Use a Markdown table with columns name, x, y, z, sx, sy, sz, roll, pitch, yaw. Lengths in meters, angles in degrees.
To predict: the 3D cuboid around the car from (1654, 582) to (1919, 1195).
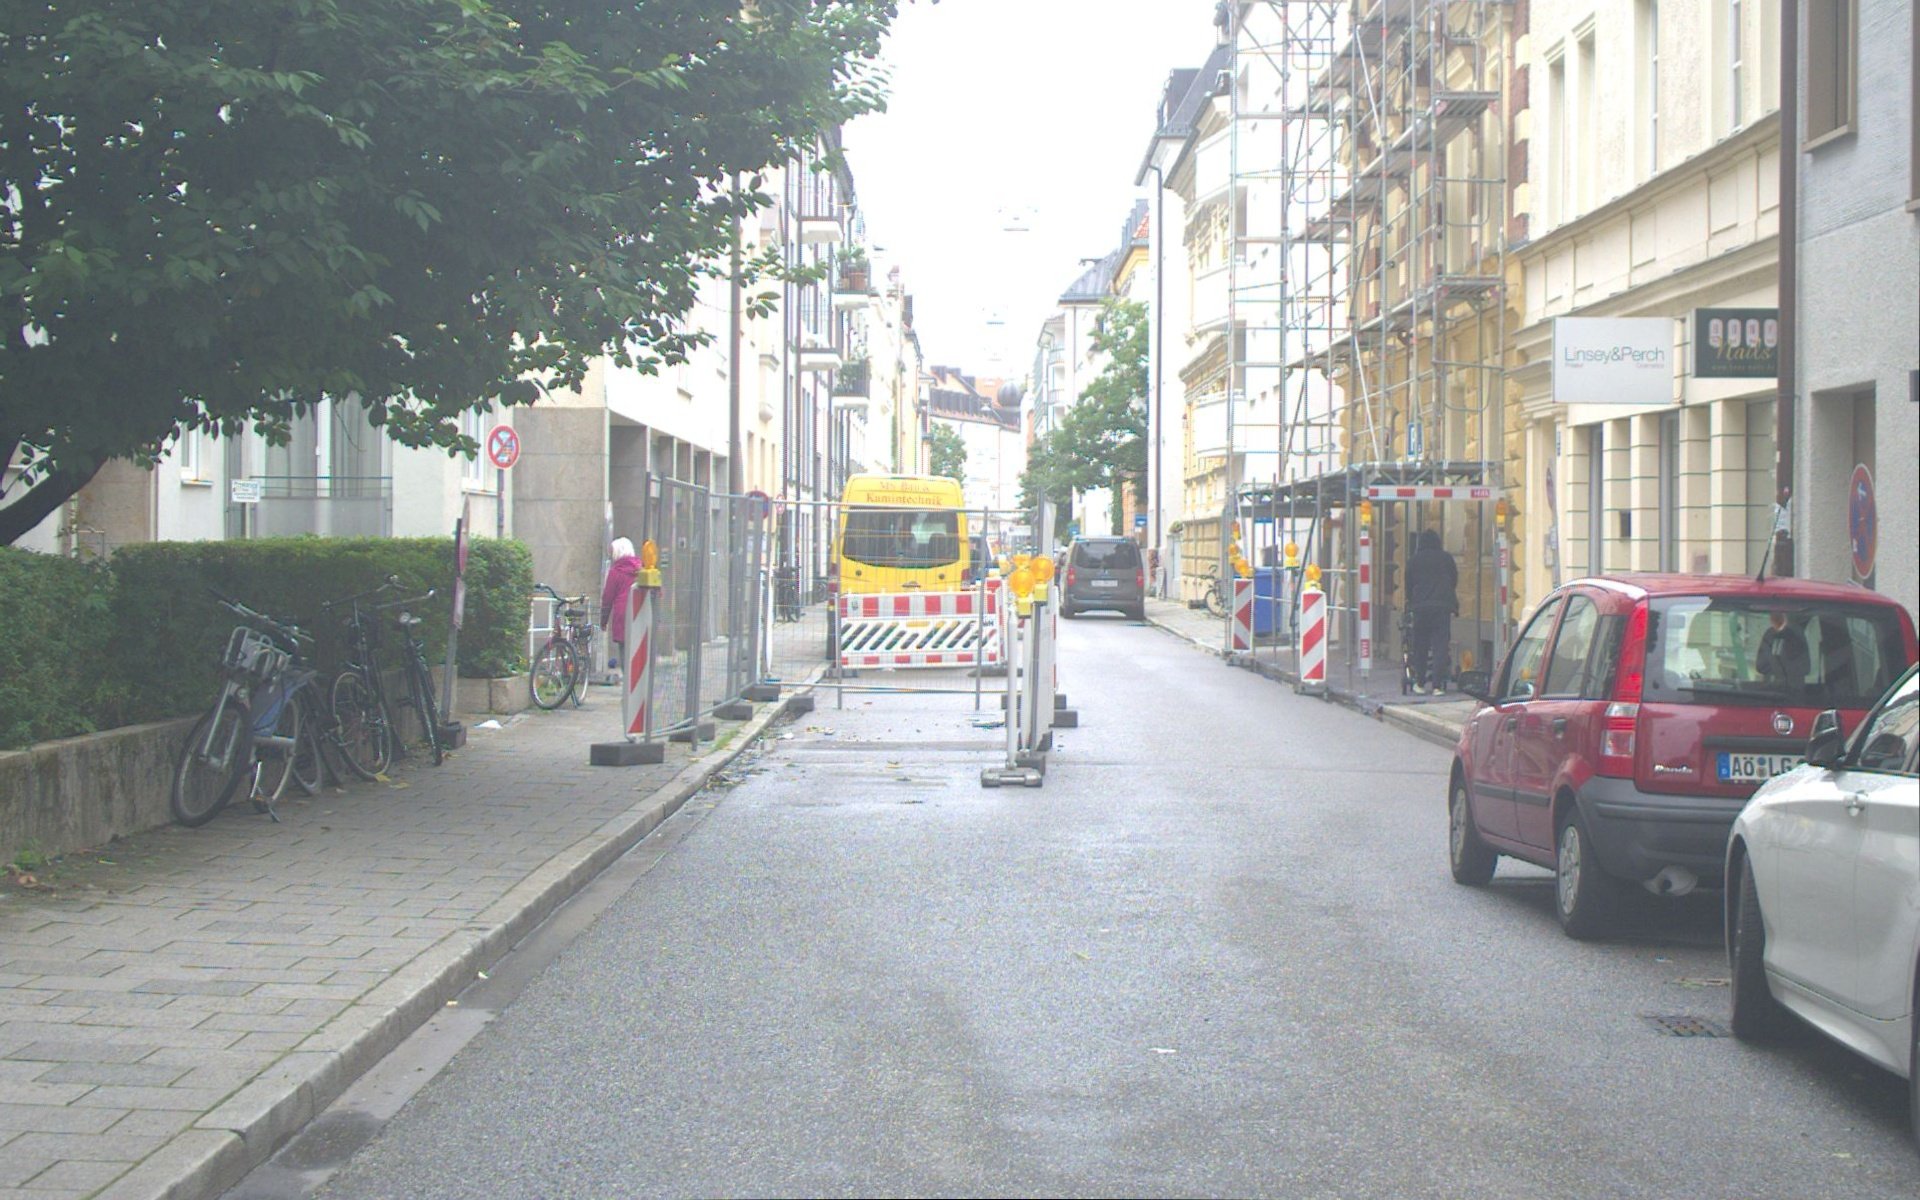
| name | x | y | z | sx | sy | sz | roll | pitch | yaw |
| --- | --- | --- | --- | --- | --- | --- | --- | --- | --- |
| car | 3.288 | 0.734 | 9.831 | 1.768 | 1.456 | 4.380 | 2 | 1 | 2 |

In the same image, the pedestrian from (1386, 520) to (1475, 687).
| name | x | y | z | sx | sy | sz | roll | pitch | yaw |
| --- | --- | --- | --- | --- | --- | --- | --- | --- | --- |
| pedestrian | 5.099 | 0.028 | 37.294 | 0.729 | 1.746 | 0.988 | -3 | 1 | -1 |

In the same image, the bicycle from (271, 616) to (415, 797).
| name | x | y | z | sx | sy | sz | roll | pitch | yaw |
| --- | --- | --- | --- | --- | --- | --- | --- | --- | --- |
| bicycle | -3.559 | 0.594 | 19.924 | 0.436 | 0.975 | 1.699 | 4 | 0 | 1 |

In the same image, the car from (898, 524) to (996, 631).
| name | x | y | z | sx | sy | sz | roll | pitch | yaw |
| --- | --- | --- | --- | --- | --- | --- | --- | --- | --- |
| car | -0.235 | -0.446 | 64.845 | 1.727 | 1.891 | 5.509 | -1 | 1 | 0 |

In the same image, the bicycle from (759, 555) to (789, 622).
| name | x | y | z | sx | sy | sz | roll | pitch | yaw |
| --- | --- | --- | --- | --- | --- | --- | --- | --- | --- |
| bicycle | -3.501 | -0.231 | 64.687 | 0.381 | 1.184 | 2.136 | 2 | 2 | -7 |

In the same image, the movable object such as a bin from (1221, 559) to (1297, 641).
| name | x | y | z | sx | sy | sz | roll | pitch | yaw |
| --- | --- | --- | --- | --- | --- | --- | --- | --- | --- |
| movable object such as a bin | 5.171 | -0.010 | 59.302 | 1.087 | 1.341 | 1.317 | -2 | 1 | 13 |

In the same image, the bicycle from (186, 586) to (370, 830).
| name | x | y | z | sx | sy | sz | roll | pitch | yaw |
| --- | --- | --- | --- | --- | --- | --- | --- | --- | --- |
| bicycle | -3.442 | 0.522 | 17.456 | 0.488 | 1.147 | 1.699 | 4 | 0 | 1 |

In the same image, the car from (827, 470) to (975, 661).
| name | x | y | z | sx | sy | sz | roll | pitch | yaw |
| --- | --- | --- | --- | --- | --- | --- | --- | --- | --- |
| car | -0.835 | -0.513 | 49.674 | 1.993 | 2.570 | 6.737 | 0 | 1 | -1 |

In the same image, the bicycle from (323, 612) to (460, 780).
| name | x | y | z | sx | sy | sz | roll | pitch | yaw |
| --- | --- | --- | --- | --- | --- | --- | --- | --- | --- |
| bicycle | -3.535 | 0.577 | 21.485 | 0.443 | 0.975 | 1.853 | 4 | 0 | 1 |

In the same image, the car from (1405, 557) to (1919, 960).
| name | x | y | z | sx | sy | sz | roll | pitch | yaw |
| --- | --- | --- | --- | --- | --- | --- | --- | --- | --- |
| car | 3.144 | 0.605 | 15.681 | 1.772 | 1.519 | 4.066 | 2 | 1 | 2 |

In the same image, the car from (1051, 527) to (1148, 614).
| name | x | y | z | sx | sy | sz | roll | pitch | yaw |
| --- | --- | --- | --- | --- | --- | --- | --- | --- | --- |
| car | 3.288 | -0.724 | 81.706 | 1.993 | 1.925 | 4.660 | 2 | 1 | -1 |

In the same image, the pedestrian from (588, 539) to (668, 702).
| name | x | y | z | sx | sy | sz | roll | pitch | yaw |
| --- | --- | --- | --- | --- | --- | --- | --- | --- | --- |
| pedestrian | -3.166 | 0.184 | 32.835 | 0.638 | 1.526 | 0.747 | -1 | 1 | 2 |

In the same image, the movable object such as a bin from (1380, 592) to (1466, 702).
| name | x | y | z | sx | sy | sz | roll | pitch | yaw |
| --- | --- | --- | --- | --- | --- | --- | --- | --- | --- |
| movable object such as a bin | 5.112 | 0.509 | 37.967 | 0.729 | 1.137 | 0.988 | -4 | 1 | -1 |

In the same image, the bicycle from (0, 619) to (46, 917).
| name | x | y | z | sx | sy | sz | roll | pitch | yaw |
| --- | --- | --- | --- | --- | --- | --- | --- | --- | --- |
| bicycle | -3.638 | 0.620 | 12.001 | 0.346 | 1.068 | 1.780 | 4 | 1 | 0 |

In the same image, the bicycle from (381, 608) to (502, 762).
| name | x | y | z | sx | sy | sz | roll | pitch | yaw |
| --- | --- | --- | --- | --- | --- | --- | --- | --- | --- |
| bicycle | -3.505 | 0.560 | 23.351 | 0.443 | 0.975 | 1.816 | 4 | 0 | 1 |

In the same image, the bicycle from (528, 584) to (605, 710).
| name | x | y | z | sx | sy | sz | roll | pitch | yaw |
| --- | --- | --- | --- | --- | --- | --- | --- | --- | --- |
| bicycle | -3.574 | 0.413 | 31.292 | 0.377 | 1.059 | 1.597 | 7 | 1 | 1 |

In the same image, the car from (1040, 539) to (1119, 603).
| name | x | y | z | sx | sy | sz | roll | pitch | yaw |
| --- | --- | --- | --- | --- | --- | --- | --- | --- | --- |
| car | 3.158 | -0.795 | 91.598 | 1.894 | 1.635 | 4.322 | 0 | 1 | -1 |

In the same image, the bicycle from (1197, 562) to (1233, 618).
| name | x | y | z | sx | sy | sz | roll | pitch | yaw |
| --- | --- | --- | --- | --- | --- | --- | --- | --- | --- |
| bicycle | 5.545 | -0.230 | 74.814 | 0.638 | 1.149 | 1.915 | -2 | 2 | 1 |
